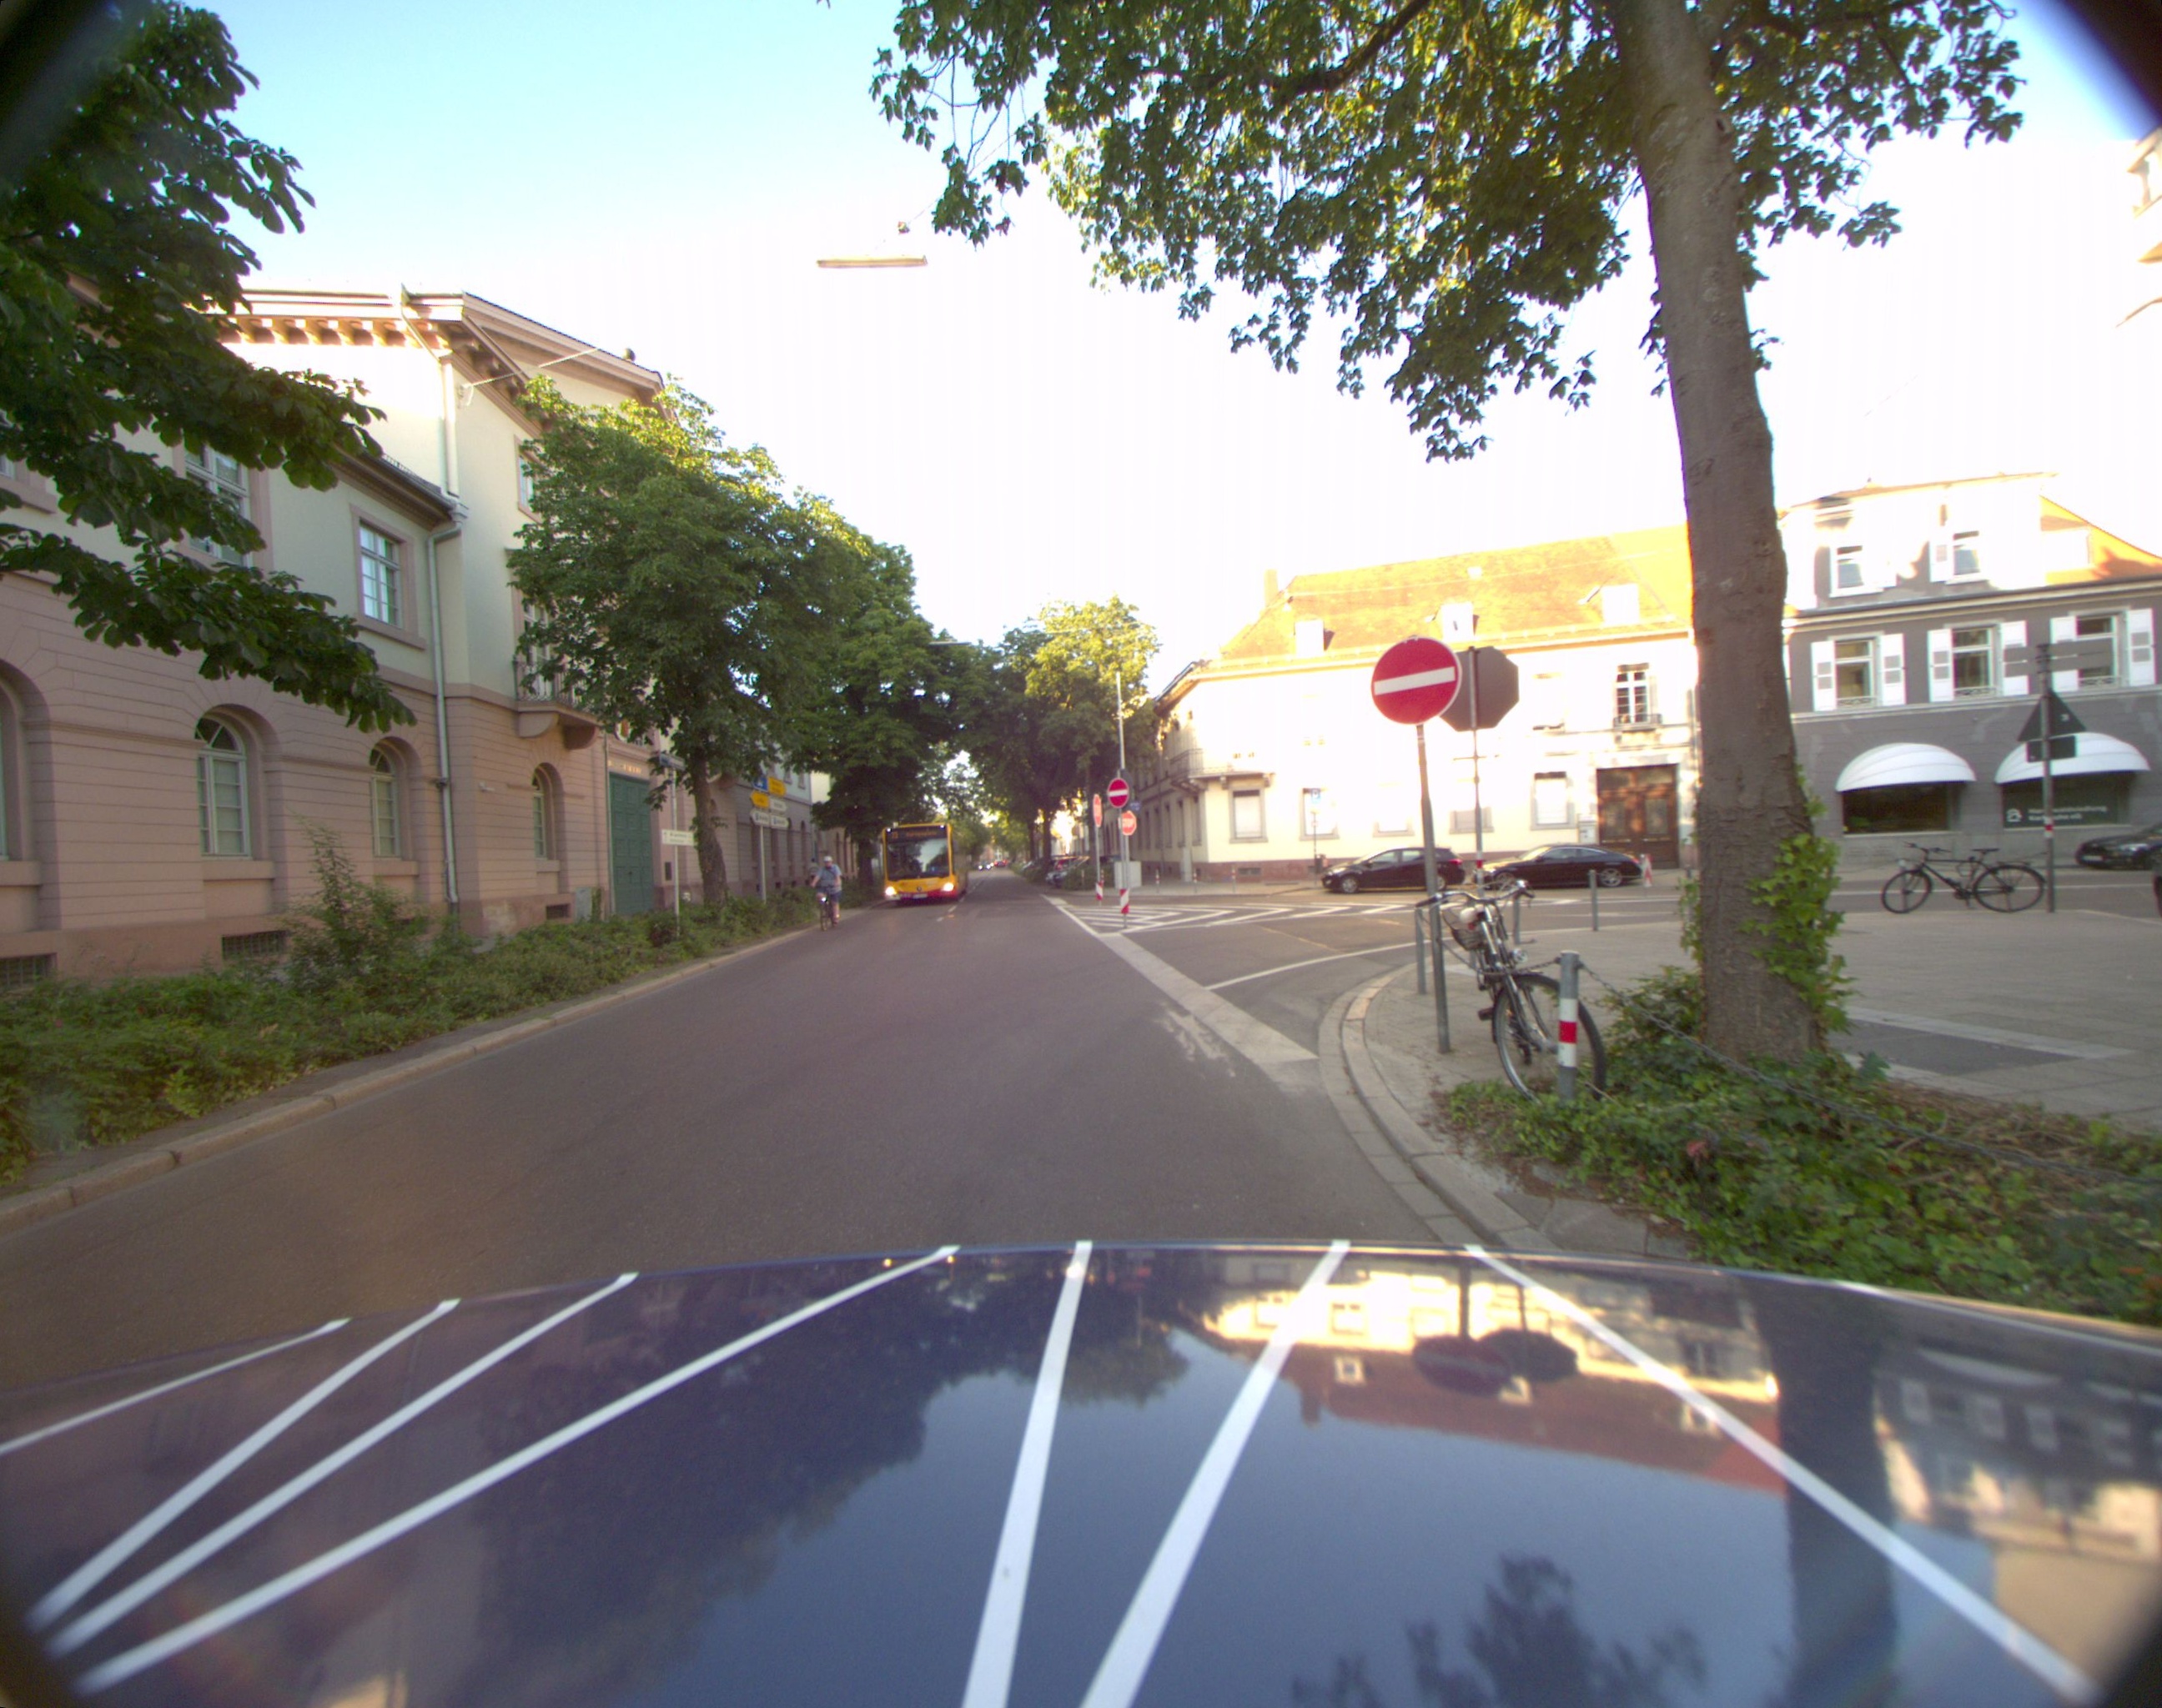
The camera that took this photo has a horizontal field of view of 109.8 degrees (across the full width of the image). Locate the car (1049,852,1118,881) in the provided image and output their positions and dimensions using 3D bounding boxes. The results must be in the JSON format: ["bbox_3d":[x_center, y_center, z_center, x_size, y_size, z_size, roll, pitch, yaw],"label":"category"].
[{"bbox_3d":[0.134,0.767,47.326,3.999,1.606,1.722,-2,0,-8],"label":"car"}]

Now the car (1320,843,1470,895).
[{"bbox_3d":[10.308,0.491,25.270,4.422,1.532,1.810,-2,0,17],"label":"car"}]

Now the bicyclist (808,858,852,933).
[{"bbox_3d":[-6.379,1.034,19.361,0.783,1.828,0.826,-4,1,-6],"label":"bicyclist"}]

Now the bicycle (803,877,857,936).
[{"bbox_3d":[-6.363,1.293,19.405,0.783,1.322,2.077,-4,0,-6],"label":"bicycle"}]

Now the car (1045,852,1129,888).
[{"bbox_3d":[0.277,0.788,38.897,3.999,1.606,1.722,-2,0,-8],"label":"car"}]

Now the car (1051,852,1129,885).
[{"bbox_3d":[0.465,0.767,41.362,3.999,1.606,1.722,-2,0,-8],"label":"car"}]

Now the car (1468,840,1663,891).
[{"bbox_3d":[14.977,0.369,23.813,4.847,1.386,1.781,-2,0,18],"label":"car"}]

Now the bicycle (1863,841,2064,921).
[{"bbox_3d":[13.244,0.427,11.490,1.799,1.119,0.730,-3,-2,25],"label":"bicycle"}]

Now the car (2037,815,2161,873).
[{"bbox_3d":[28.940,-0.313,20.118,4.241,1.438,1.750,-2,0,17],"label":"car"}]

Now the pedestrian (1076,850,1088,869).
[{"bbox_3d":[0.089,0.550,72.912,0.895,1.760,1.021,-2,1,-7],"label":"pedestrian"}]

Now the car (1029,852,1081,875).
[{"bbox_3d":[-2.115,0.746,61.346,3.999,1.606,1.722,-2,0,-8],"label":"car"}]

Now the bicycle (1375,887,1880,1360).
[{"bbox_3d":[2.115,0.858,3.555,0.845,1.260,2.574,-2,0,10],"label":"bicycle"}]

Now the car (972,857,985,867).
[{"bbox_3d":[-18.130,1.410,134.878,2.082,1.687,3.998,-2,0,-5],"label":"car"}]

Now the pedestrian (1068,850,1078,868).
[{"bbox_3d":[-0.770,0.479,72.814,0.807,1.760,1.021,-2,1,-7],"label":"pedestrian"}]

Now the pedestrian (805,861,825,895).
[{"bbox_3d":[-14.487,1.285,41.405,0.801,1.821,0.929,-2,1,-8],"label":"pedestrian"}]

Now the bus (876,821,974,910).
[{"bbox_3d":[-6.396,0.404,33.095,2.712,2.983,12.075,-4,0,-6],"label":"bus"}]

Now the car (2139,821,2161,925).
[{"bbox_3d":[14.971,0.217,9.142,1.736,1.452,3.872,-2,-3,41],"label":"car"}]

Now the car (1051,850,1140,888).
[{"bbox_3d":[0.652,0.698,36.525,3.999,1.606,1.827,-2,0,-8],"label":"car"}]
